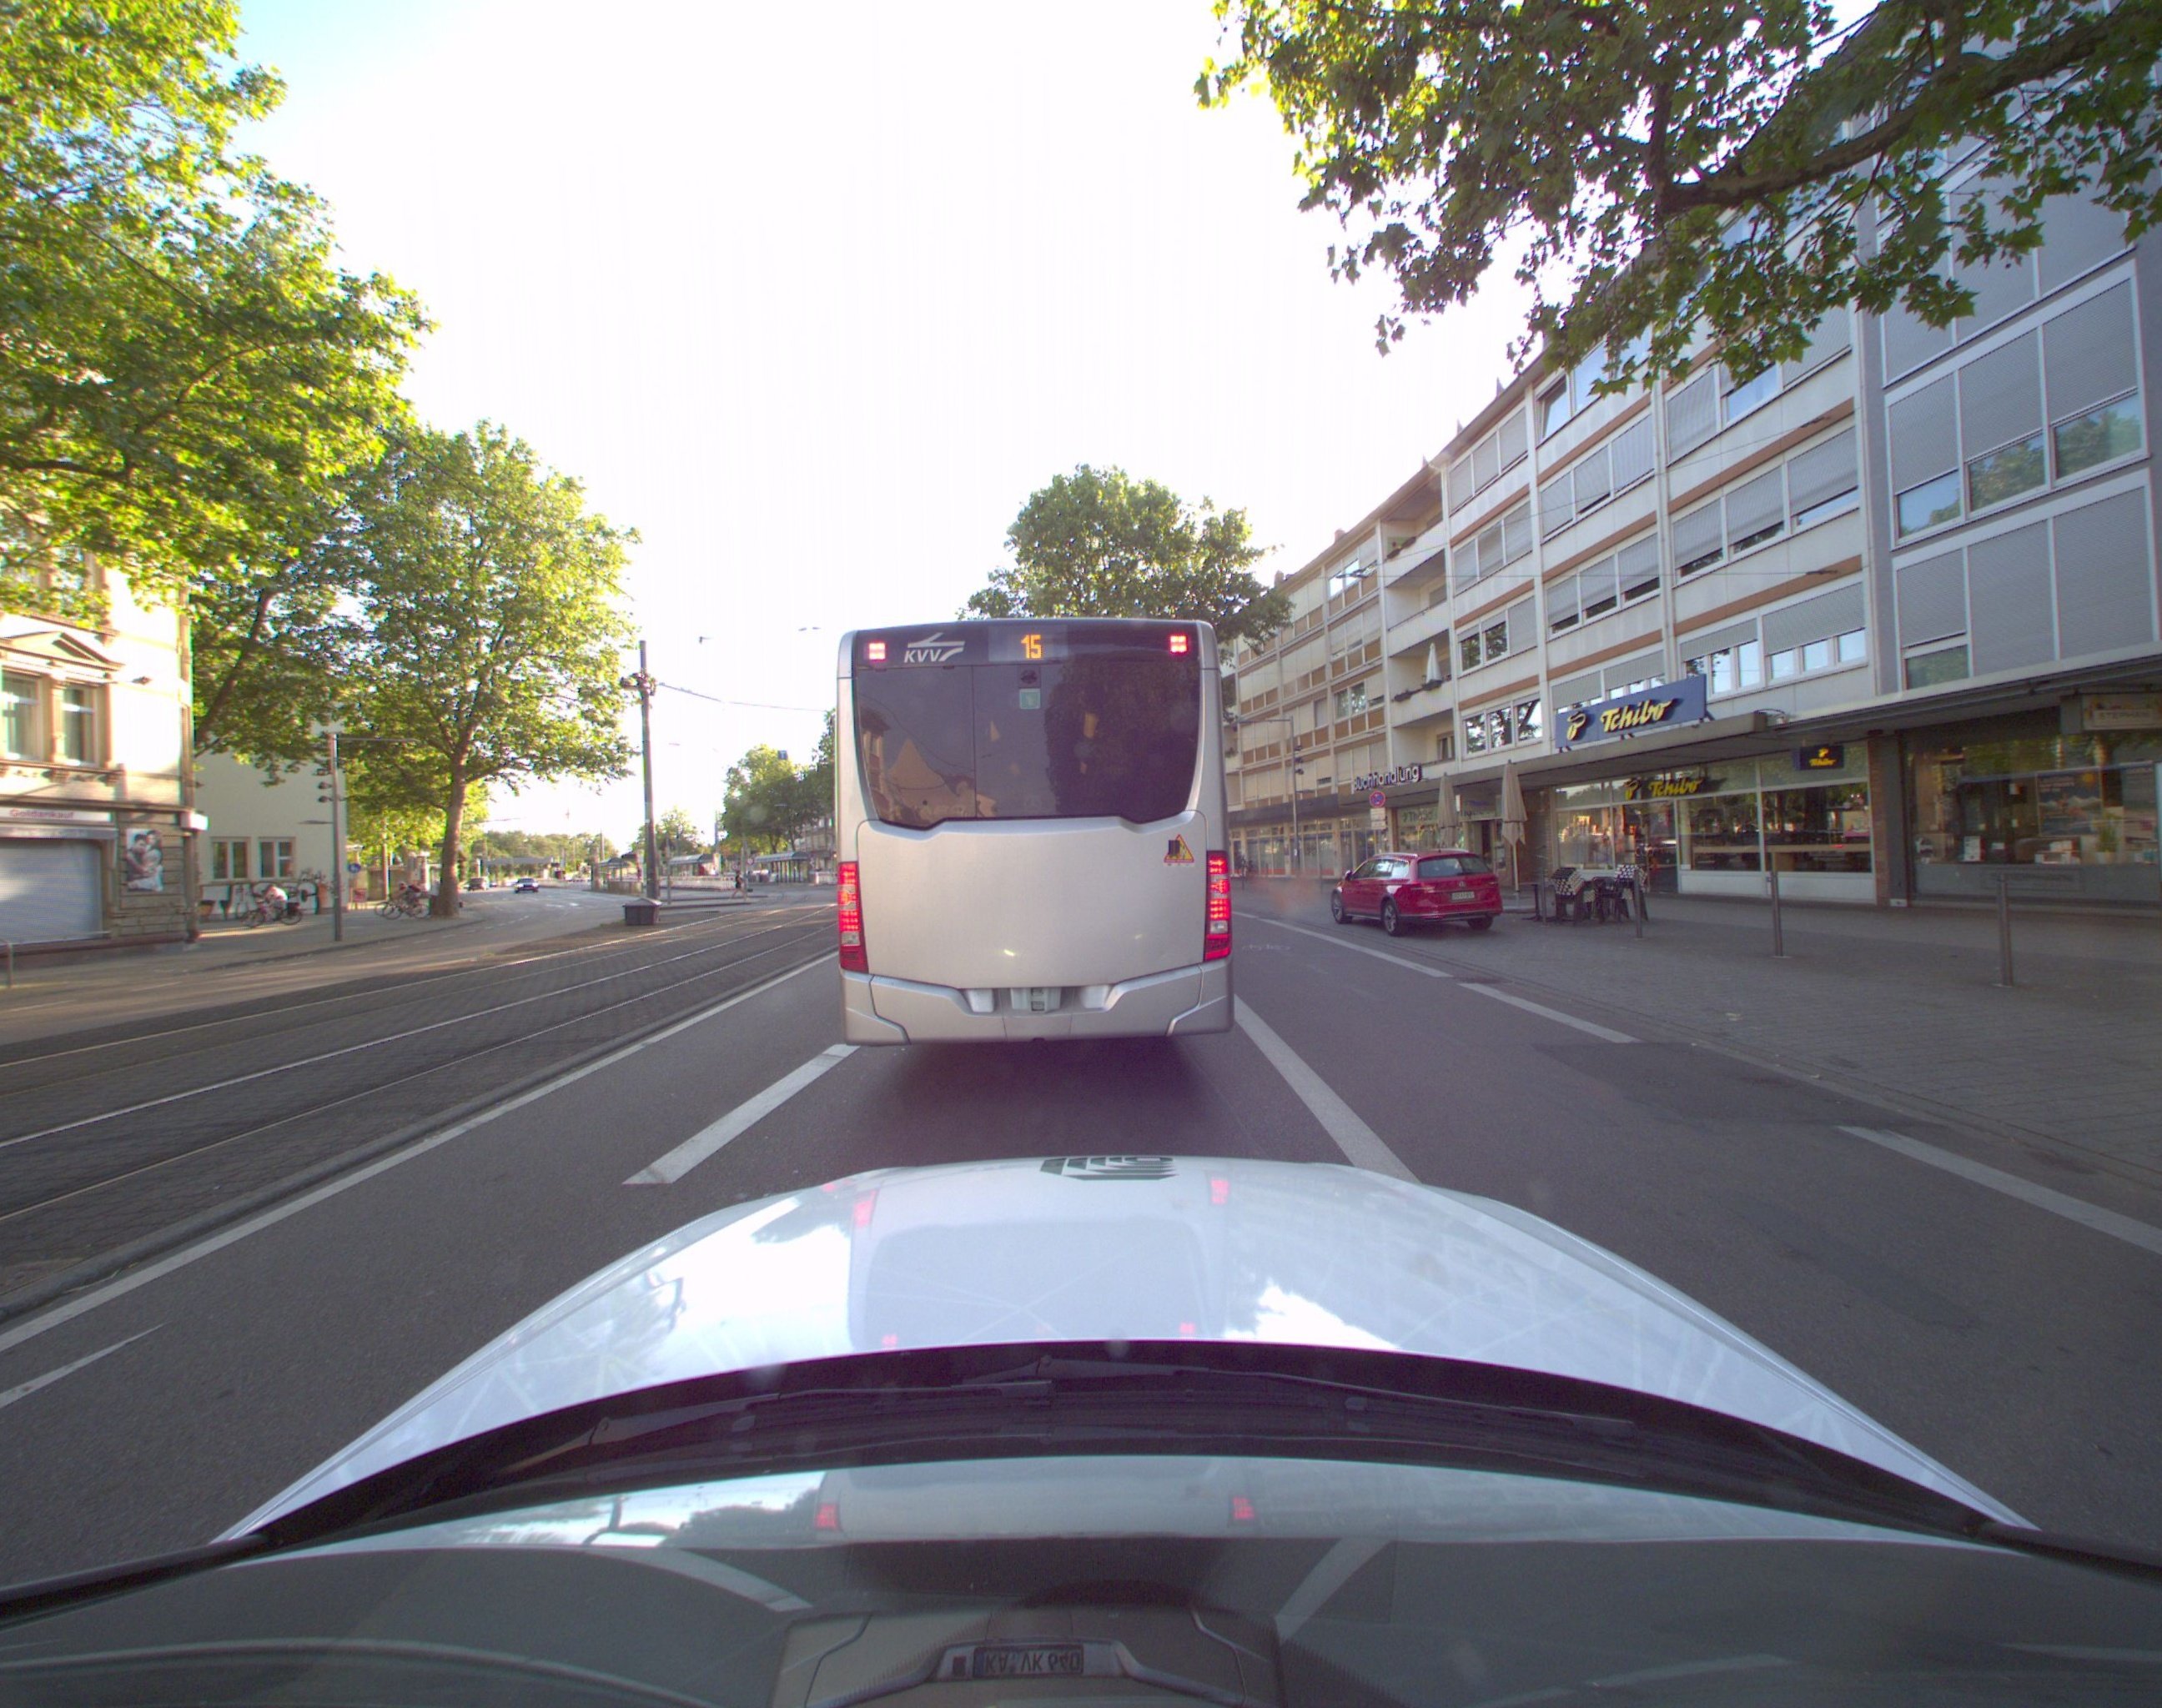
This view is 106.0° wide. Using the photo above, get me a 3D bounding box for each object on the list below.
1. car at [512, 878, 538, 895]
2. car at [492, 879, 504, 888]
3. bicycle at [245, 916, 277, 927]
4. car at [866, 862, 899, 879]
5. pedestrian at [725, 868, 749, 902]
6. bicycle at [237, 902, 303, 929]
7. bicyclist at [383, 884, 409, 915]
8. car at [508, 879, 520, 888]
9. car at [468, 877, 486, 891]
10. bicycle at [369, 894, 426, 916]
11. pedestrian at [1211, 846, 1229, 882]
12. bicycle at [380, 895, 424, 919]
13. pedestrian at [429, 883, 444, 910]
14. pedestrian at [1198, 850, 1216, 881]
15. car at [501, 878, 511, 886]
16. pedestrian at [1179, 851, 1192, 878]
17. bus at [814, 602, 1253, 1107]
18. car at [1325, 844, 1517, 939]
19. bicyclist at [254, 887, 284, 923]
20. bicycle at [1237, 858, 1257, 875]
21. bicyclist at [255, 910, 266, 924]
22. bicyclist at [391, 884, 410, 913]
[{"bbox_3d":[-56.491,3.283,82.840,2.008,1.640,3.958,-2,-1,-33],"label":"car"},{"bbox_3d":[-117.819,6.025,164.678,1.858,1.684,3.676,-2,-1,-35],"label":"car"},{"bbox_3d":[-36.201,2.963,35.952,0.966,0.399,0.286,-2,-1,-45],"label":"bicycle"},{"bbox_3d":[-21.731,1.778,88.925,2.010,1.792,3.954,0,-1,-39],"label":"car"},{"bbox_3d":[-17.396,1.578,41.220,0.994,1.686,0.642,-1,-2,-10],"label":"pedestrian"},{"bbox_3d":[-34.406,2.605,34.559,0.612,1.005,1.926,-3,-1,41],"label":"bicycle"},{"bbox_3d":[-33.825,2.240,40.198,0.845,1.444,0.748,-2,-1,-32],"label":"bicyclist"},{"bbox_3d":[-111.437,5.841,160.018,1.858,1.684,3.677,-4,1,-35],"label":"car"},{"bbox_3d":[-82.475,4.100,111.207,1.807,1.796,3.957,-2,-1,-34],"label":"car"},{"bbox_3d":[-33.743,2.525,40.245,2.032,0.937,0.752,-2,-1,-33],"label":"bicycle"},{"bbox_3d":[6.810,0.494,39.852,0.646,1.717,0.557,-2,-1,-14],"label":"pedestrian"},{"bbox_3d":[-31.169,2.438,37.381,1.519,0.985,0.445,-2,-1,-42],"label":"bicycle"},{"bbox_3d":[-40.378,2.646,50.999,0.661,1.656,0.438,-2,-1,-41],"label":"pedestrian"},{"bbox_3d":[6.456,0.597,41.737,0.646,1.581,0.557,-2,-1,-14],"label":"pedestrian"},{"bbox_3d":[-130.082,6.406,184.197,1.858,1.684,3.676,-2,-1,-35],"label":"car"},{"bbox_3d":[6.464,0.629,50.178,0.536,1.648,0.612,-2,-1,-15],"label":"pedestrian"},{"bbox_3d":[-0.144,0.036,9.948,2.621,3.028,10.000,-1,0,2],"label":"bus"},{"bbox_3d":[6.363,0.642,15.838,1.765,1.482,4.300,-3,0,-2],"label":"car"},{"bbox_3d":[-34.442,2.153,34.544,0.619,1.444,0.847,-3,-1,41],"label":"bicyclist"},{"bbox_3d":[9.266,0.716,45.568,0.413,0.945,1.431,-2,-1,-18],"label":"bicycle"},{"bbox_3d":[-36.220,2.798,35.943,0.311,0.590,0.277,-2,-1,-44],"label":"bicyclist"},{"bbox_3d":[-31.218,2.027,37.357,0.644,1.293,0.451,-2,-1,-42],"label":"bicyclist"}]
